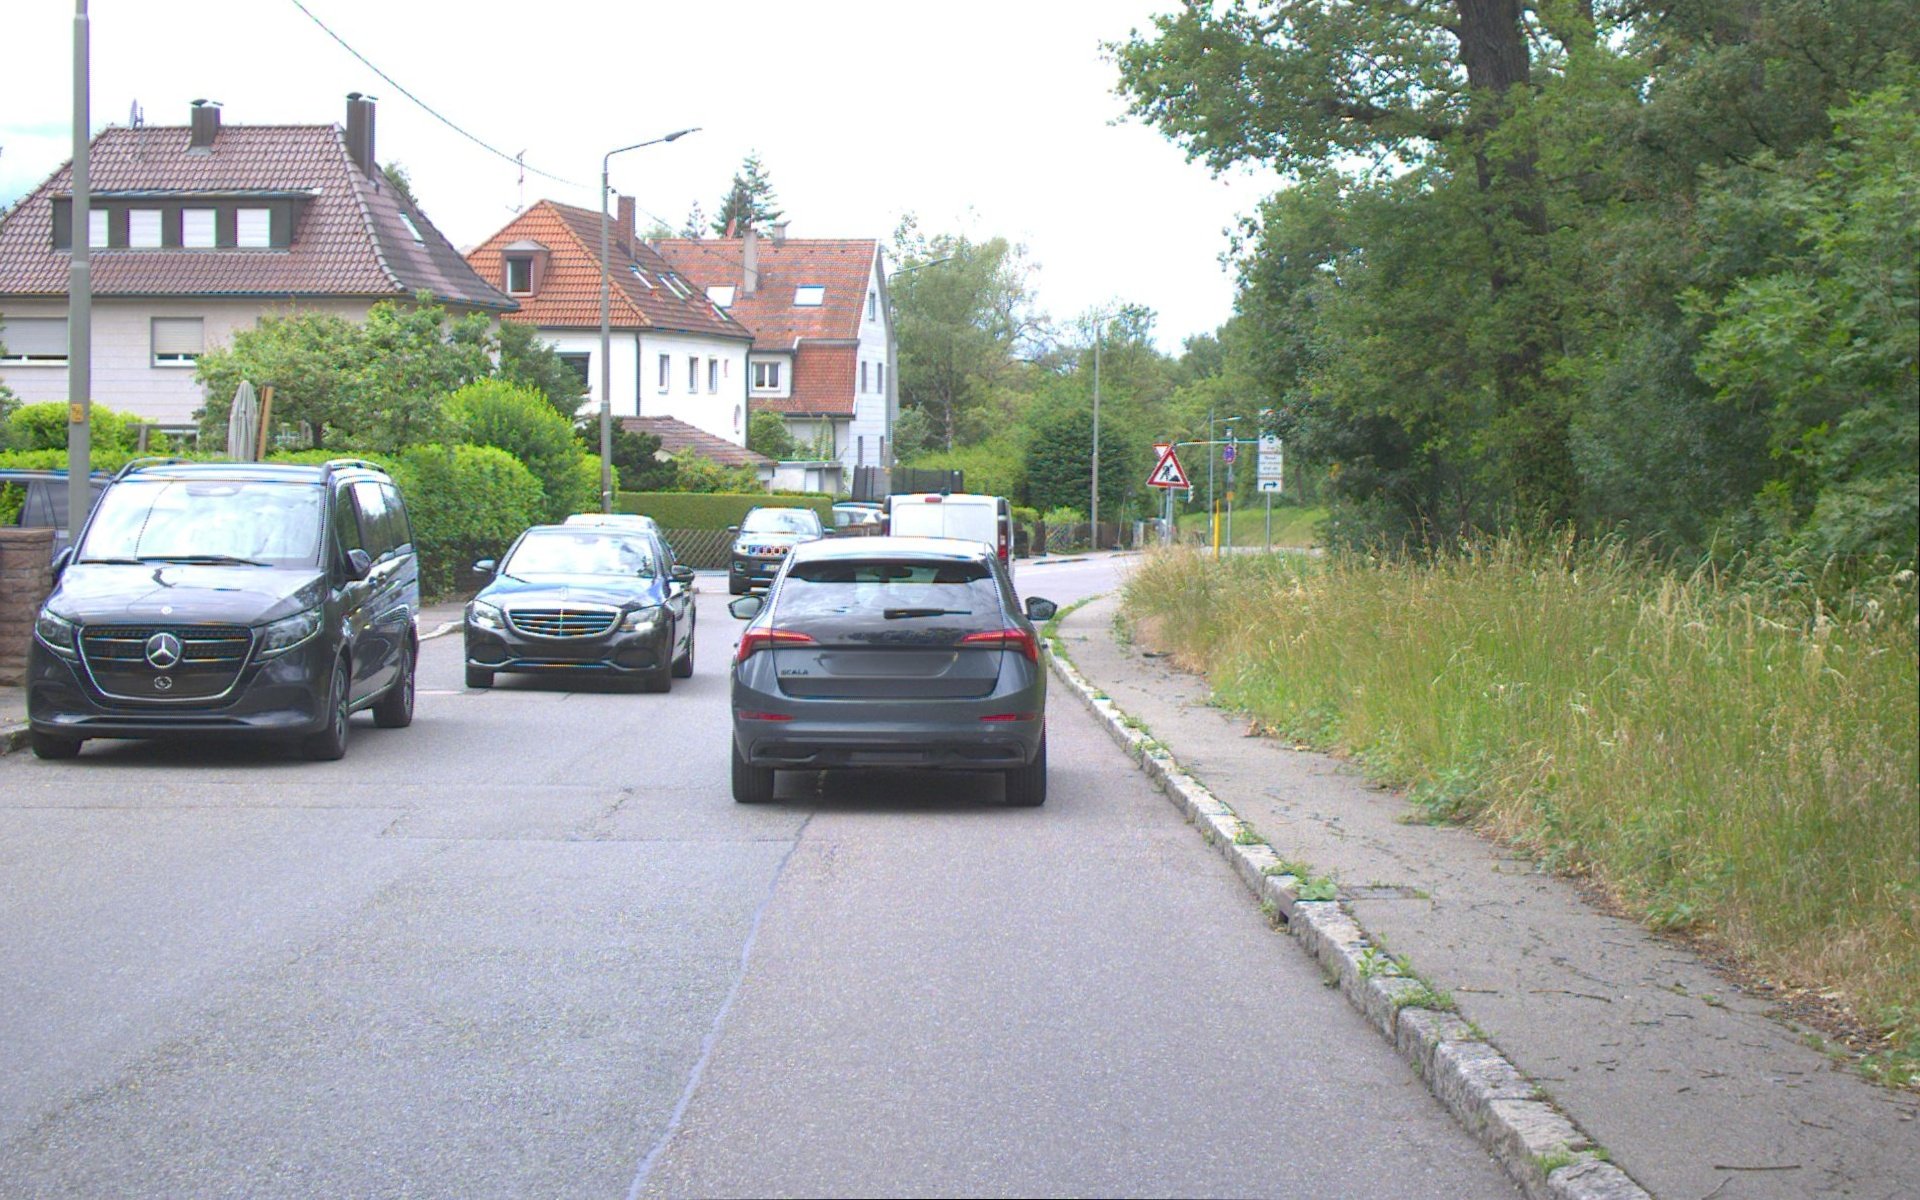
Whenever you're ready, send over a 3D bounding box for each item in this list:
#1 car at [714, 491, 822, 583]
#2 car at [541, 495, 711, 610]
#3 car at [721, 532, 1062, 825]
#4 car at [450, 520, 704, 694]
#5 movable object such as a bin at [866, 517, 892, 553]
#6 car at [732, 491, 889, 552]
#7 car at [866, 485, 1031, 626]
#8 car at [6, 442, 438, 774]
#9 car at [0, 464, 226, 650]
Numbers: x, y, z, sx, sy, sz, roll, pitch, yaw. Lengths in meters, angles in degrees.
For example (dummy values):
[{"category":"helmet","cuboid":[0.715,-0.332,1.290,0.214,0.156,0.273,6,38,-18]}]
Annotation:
[{"category":"car","cuboid":[-3.590,-1.225,64.920,1.833,1.591,4.324,2,2,-1]},{"category":"car","cuboid":[-4.657,-0.685,48.375,1.783,1.495,4.015,2,1,3]},{"category":"car","cuboid":[-0.477,0.366,19.957,1.727,1.434,4.324,1,2,-3]},{"category":"car","cuboid":[-3.421,0.004,31.479,1.863,1.409,4.593,2,1,-1]},{"category":"movable object such as a bin","cuboid":[-2.136,-1.713,90.613,0.599,0.947,0.579,1,2,6]},{"category":"car","cuboid":[-4.084,-2.158,94.288,3.988,1.612,1.999,1,2,8]},{"category":"car","cuboid":[-0.115,-0.687,50.625,2.072,1.915,4.922,2,2,3]},{"category":"car","cuboid":[-4.785,-0.017,23.026,1.863,1.919,5.039,2,1,-1]},{"category":"car","cuboid":[-9.473,-0.442,32.726,4.615,1.691,2.000,1,1,-4]}]
